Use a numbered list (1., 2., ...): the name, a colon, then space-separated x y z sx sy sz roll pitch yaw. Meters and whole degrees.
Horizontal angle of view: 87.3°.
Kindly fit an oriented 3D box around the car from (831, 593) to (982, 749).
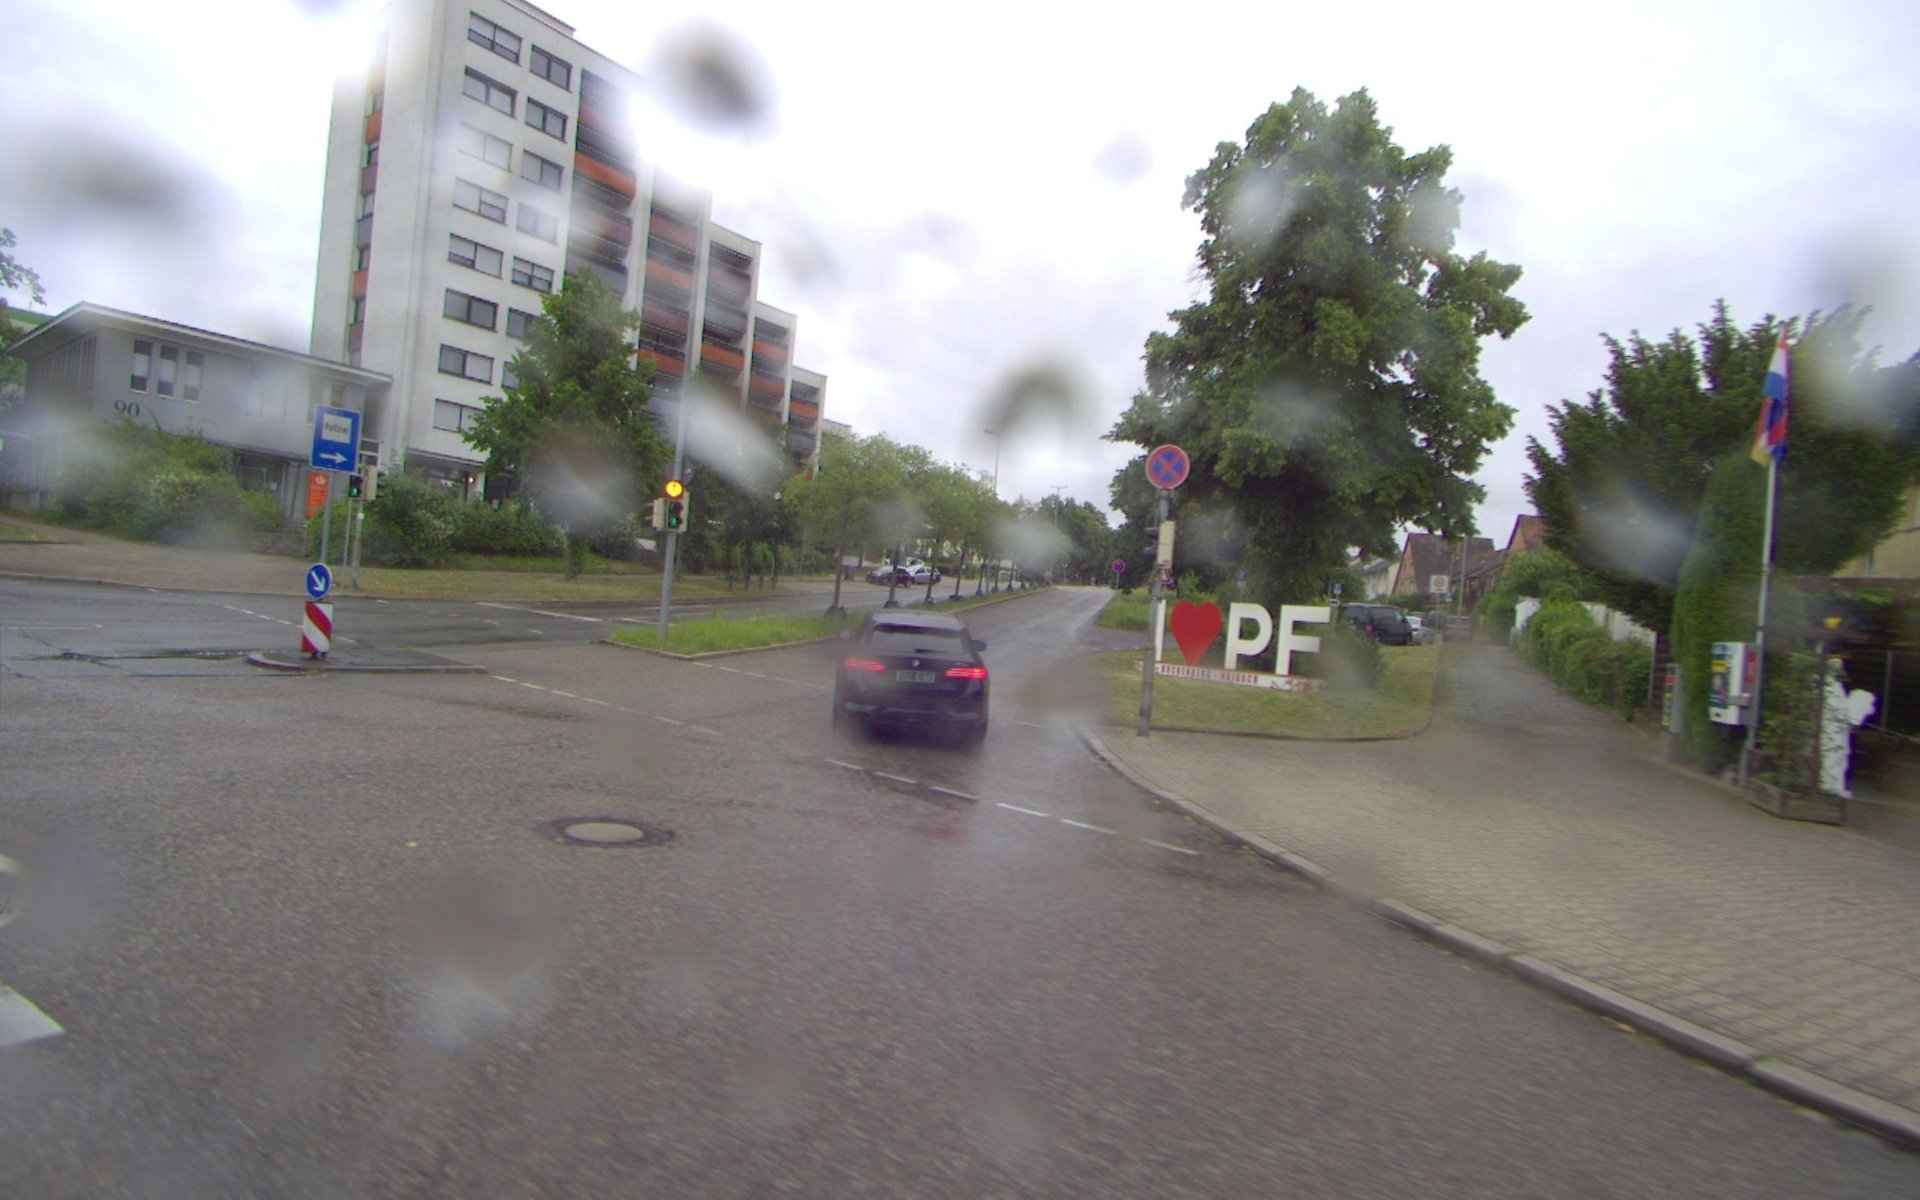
1. car: -0.683 0.812 12.879 1.501 1.552 3.531 7 -1 -3

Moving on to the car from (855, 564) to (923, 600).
1. car: -5.089 -1.295 72.268 4.283 2.036 2.002 6 -2 18

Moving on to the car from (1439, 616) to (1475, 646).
1. car: 31.766 1.995 64.230 1.811 1.619 3.804 7 1 27

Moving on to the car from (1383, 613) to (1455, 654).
1. car: 23.249 1.709 50.911 3.782 1.619 1.822 6 1 -42

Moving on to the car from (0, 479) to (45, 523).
1. car: -47.107 -5.003 48.618 1.973 1.836 3.984 5 -3 41

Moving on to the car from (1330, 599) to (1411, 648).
1. car: 19.154 1.130 46.868 3.782 1.865 1.822 6 1 -42

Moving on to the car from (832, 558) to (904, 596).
1. car: -6.348 -1.581 69.613 4.283 2.036 2.002 6 -2 18
